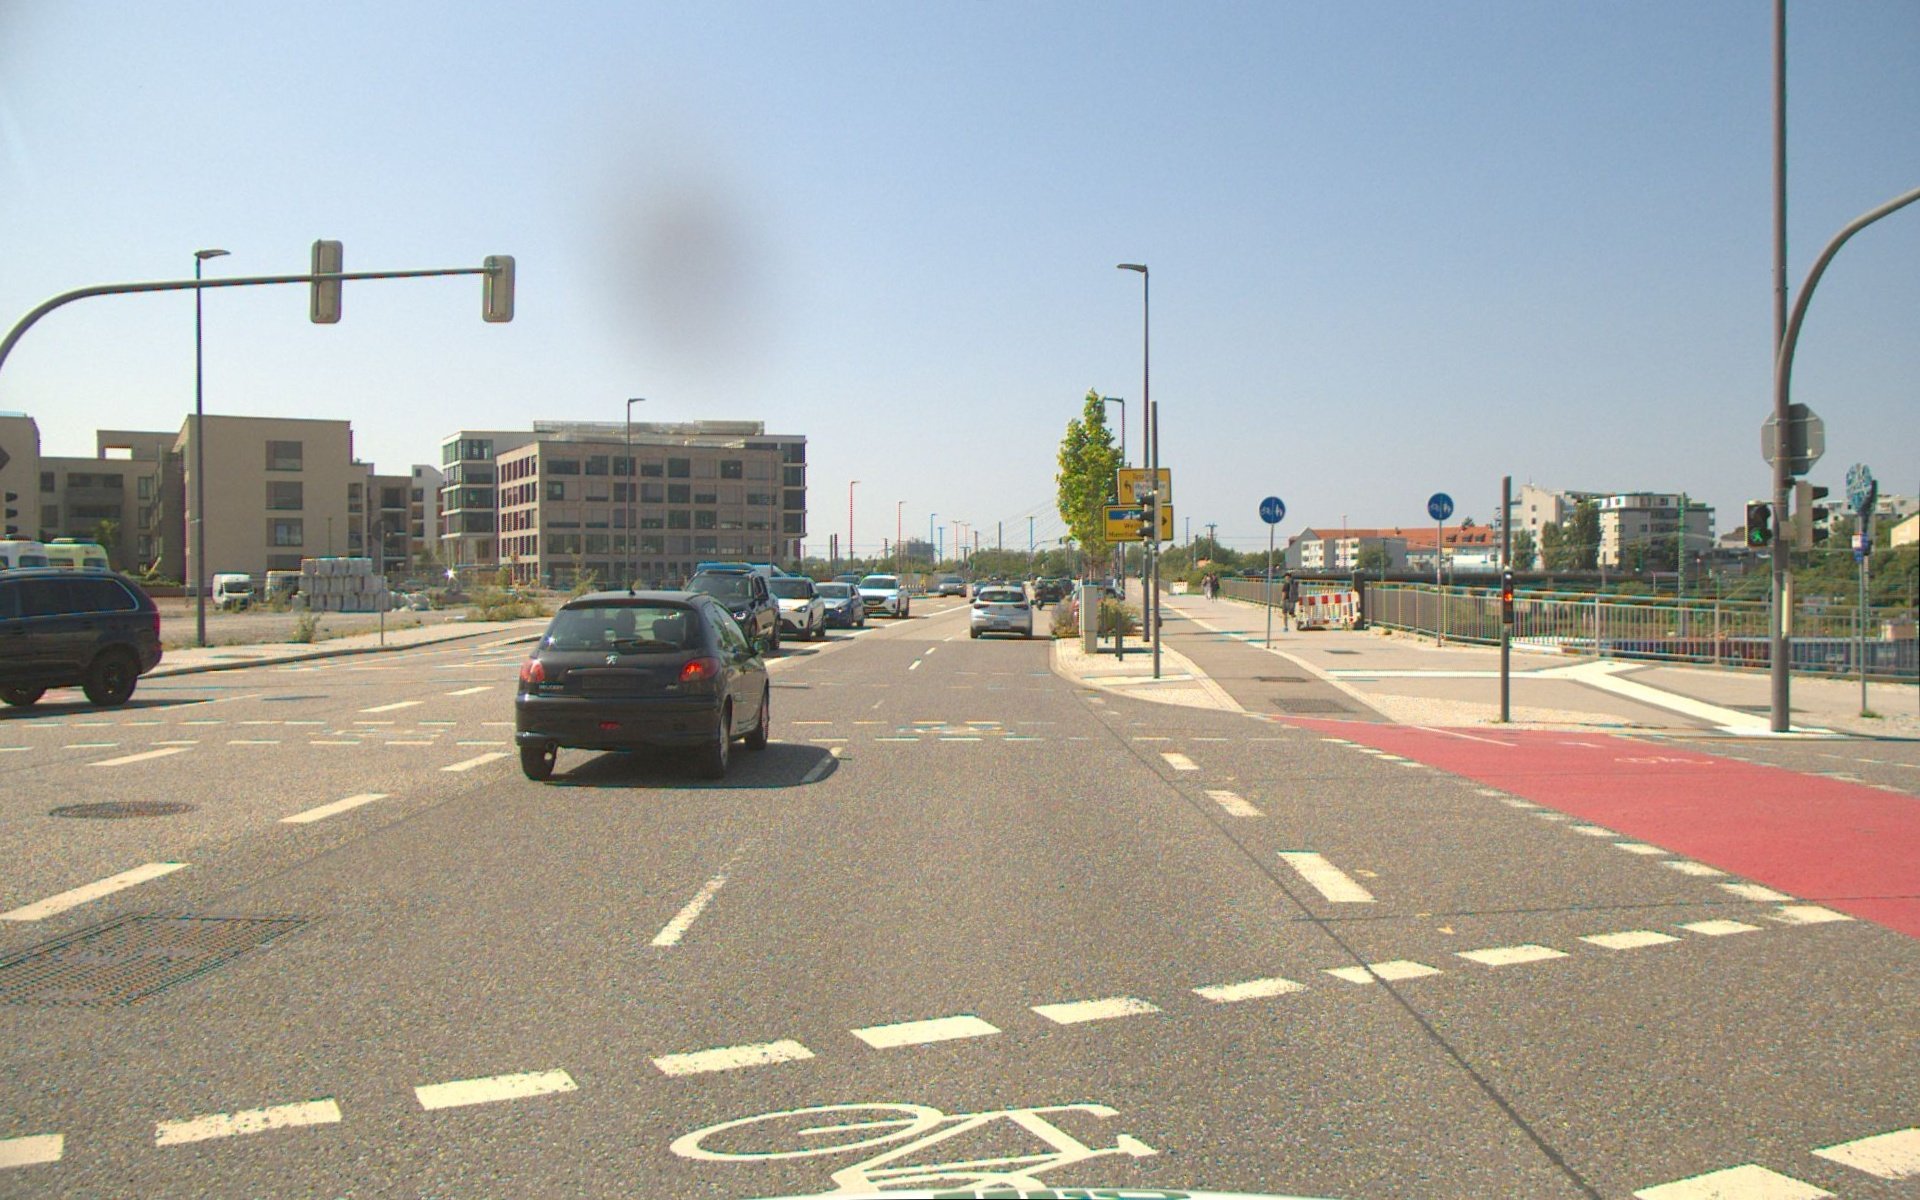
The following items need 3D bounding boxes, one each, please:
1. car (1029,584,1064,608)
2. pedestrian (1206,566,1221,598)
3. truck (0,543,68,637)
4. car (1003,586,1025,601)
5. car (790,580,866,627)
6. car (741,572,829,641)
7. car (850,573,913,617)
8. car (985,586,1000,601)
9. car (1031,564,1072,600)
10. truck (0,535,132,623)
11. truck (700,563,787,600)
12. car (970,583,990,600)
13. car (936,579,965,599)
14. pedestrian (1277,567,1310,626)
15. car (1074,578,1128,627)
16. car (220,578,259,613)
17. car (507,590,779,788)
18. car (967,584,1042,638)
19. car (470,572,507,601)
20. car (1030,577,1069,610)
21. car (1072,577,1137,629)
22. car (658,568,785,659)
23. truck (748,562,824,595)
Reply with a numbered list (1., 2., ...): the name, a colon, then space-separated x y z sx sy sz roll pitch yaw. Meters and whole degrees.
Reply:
1. car: 5.042 -0.214 97.169 1.600 1.333 3.997 1 -1 -4
2. pedestrian: 14.371 -1.021 93.765 0.716 1.735 0.651 1 -1 5
3. truck: -31.919 -0.384 52.586 5.712 2.874 2.572 2 -1 6
4. car: 5.094 -0.644 156.608 1.749 1.422 4.575 0 1 6
5. car: -4.238 0.104 53.631 1.748 1.446 4.284 0 0 5
6. car: -4.657 0.135 44.650 1.741 1.711 4.101 -1 1 2
7. car: -3.105 -0.194 66.049 1.873 1.678 4.733 0 0 5
8. car: 3.453 -0.670 177.859 1.546 1.590 3.674 1 -1 1
9. car: 4.618 -0.884 84.241 1.757 1.780 3.999 0 0 -2
10. truck: -32.012 -0.755 56.211 6.495 2.875 2.604 1 1 5
11. truck: -15.529 -1.317 118.757 5.878 2.587 2.276 -1 0 4
12. car: 1.911 -0.783 156.334 1.757 1.441 4.000 1 -1 1
13. car: -0.671 -0.821 124.764 1.854 1.440 3.600 1 -1 5
14. pedestrian: 9.458 -0.101 46.976 0.735 1.637 0.950 -3 0 5
15. car: 4.987 0.062 58.846 1.833 1.655 4.879 0 0 4
16. car: -47.862 -0.307 109.870 1.973 2.280 3.960 0 1 -30
17. car: -2.534 0.648 14.028 1.586 1.441 3.727 0 0 0
18. car: 1.329 0.297 47.733 1.740 1.467 4.003 0 0 7
19. car: -32.474 -0.929 113.861 1.967 1.881 3.970 1 1 -24
20. car: 4.558 -0.301 83.773 1.740 1.596 4.003 1 -1 6
21. car: 4.517 0.080 51.930 1.951 1.545 4.002 0 0 5
22. car: -5.161 0.241 36.421 1.899 1.820 4.657 1 1 2
23. truck: -13.230 -1.621 126.075 5.450 2.404 2.276 -1 0 3
